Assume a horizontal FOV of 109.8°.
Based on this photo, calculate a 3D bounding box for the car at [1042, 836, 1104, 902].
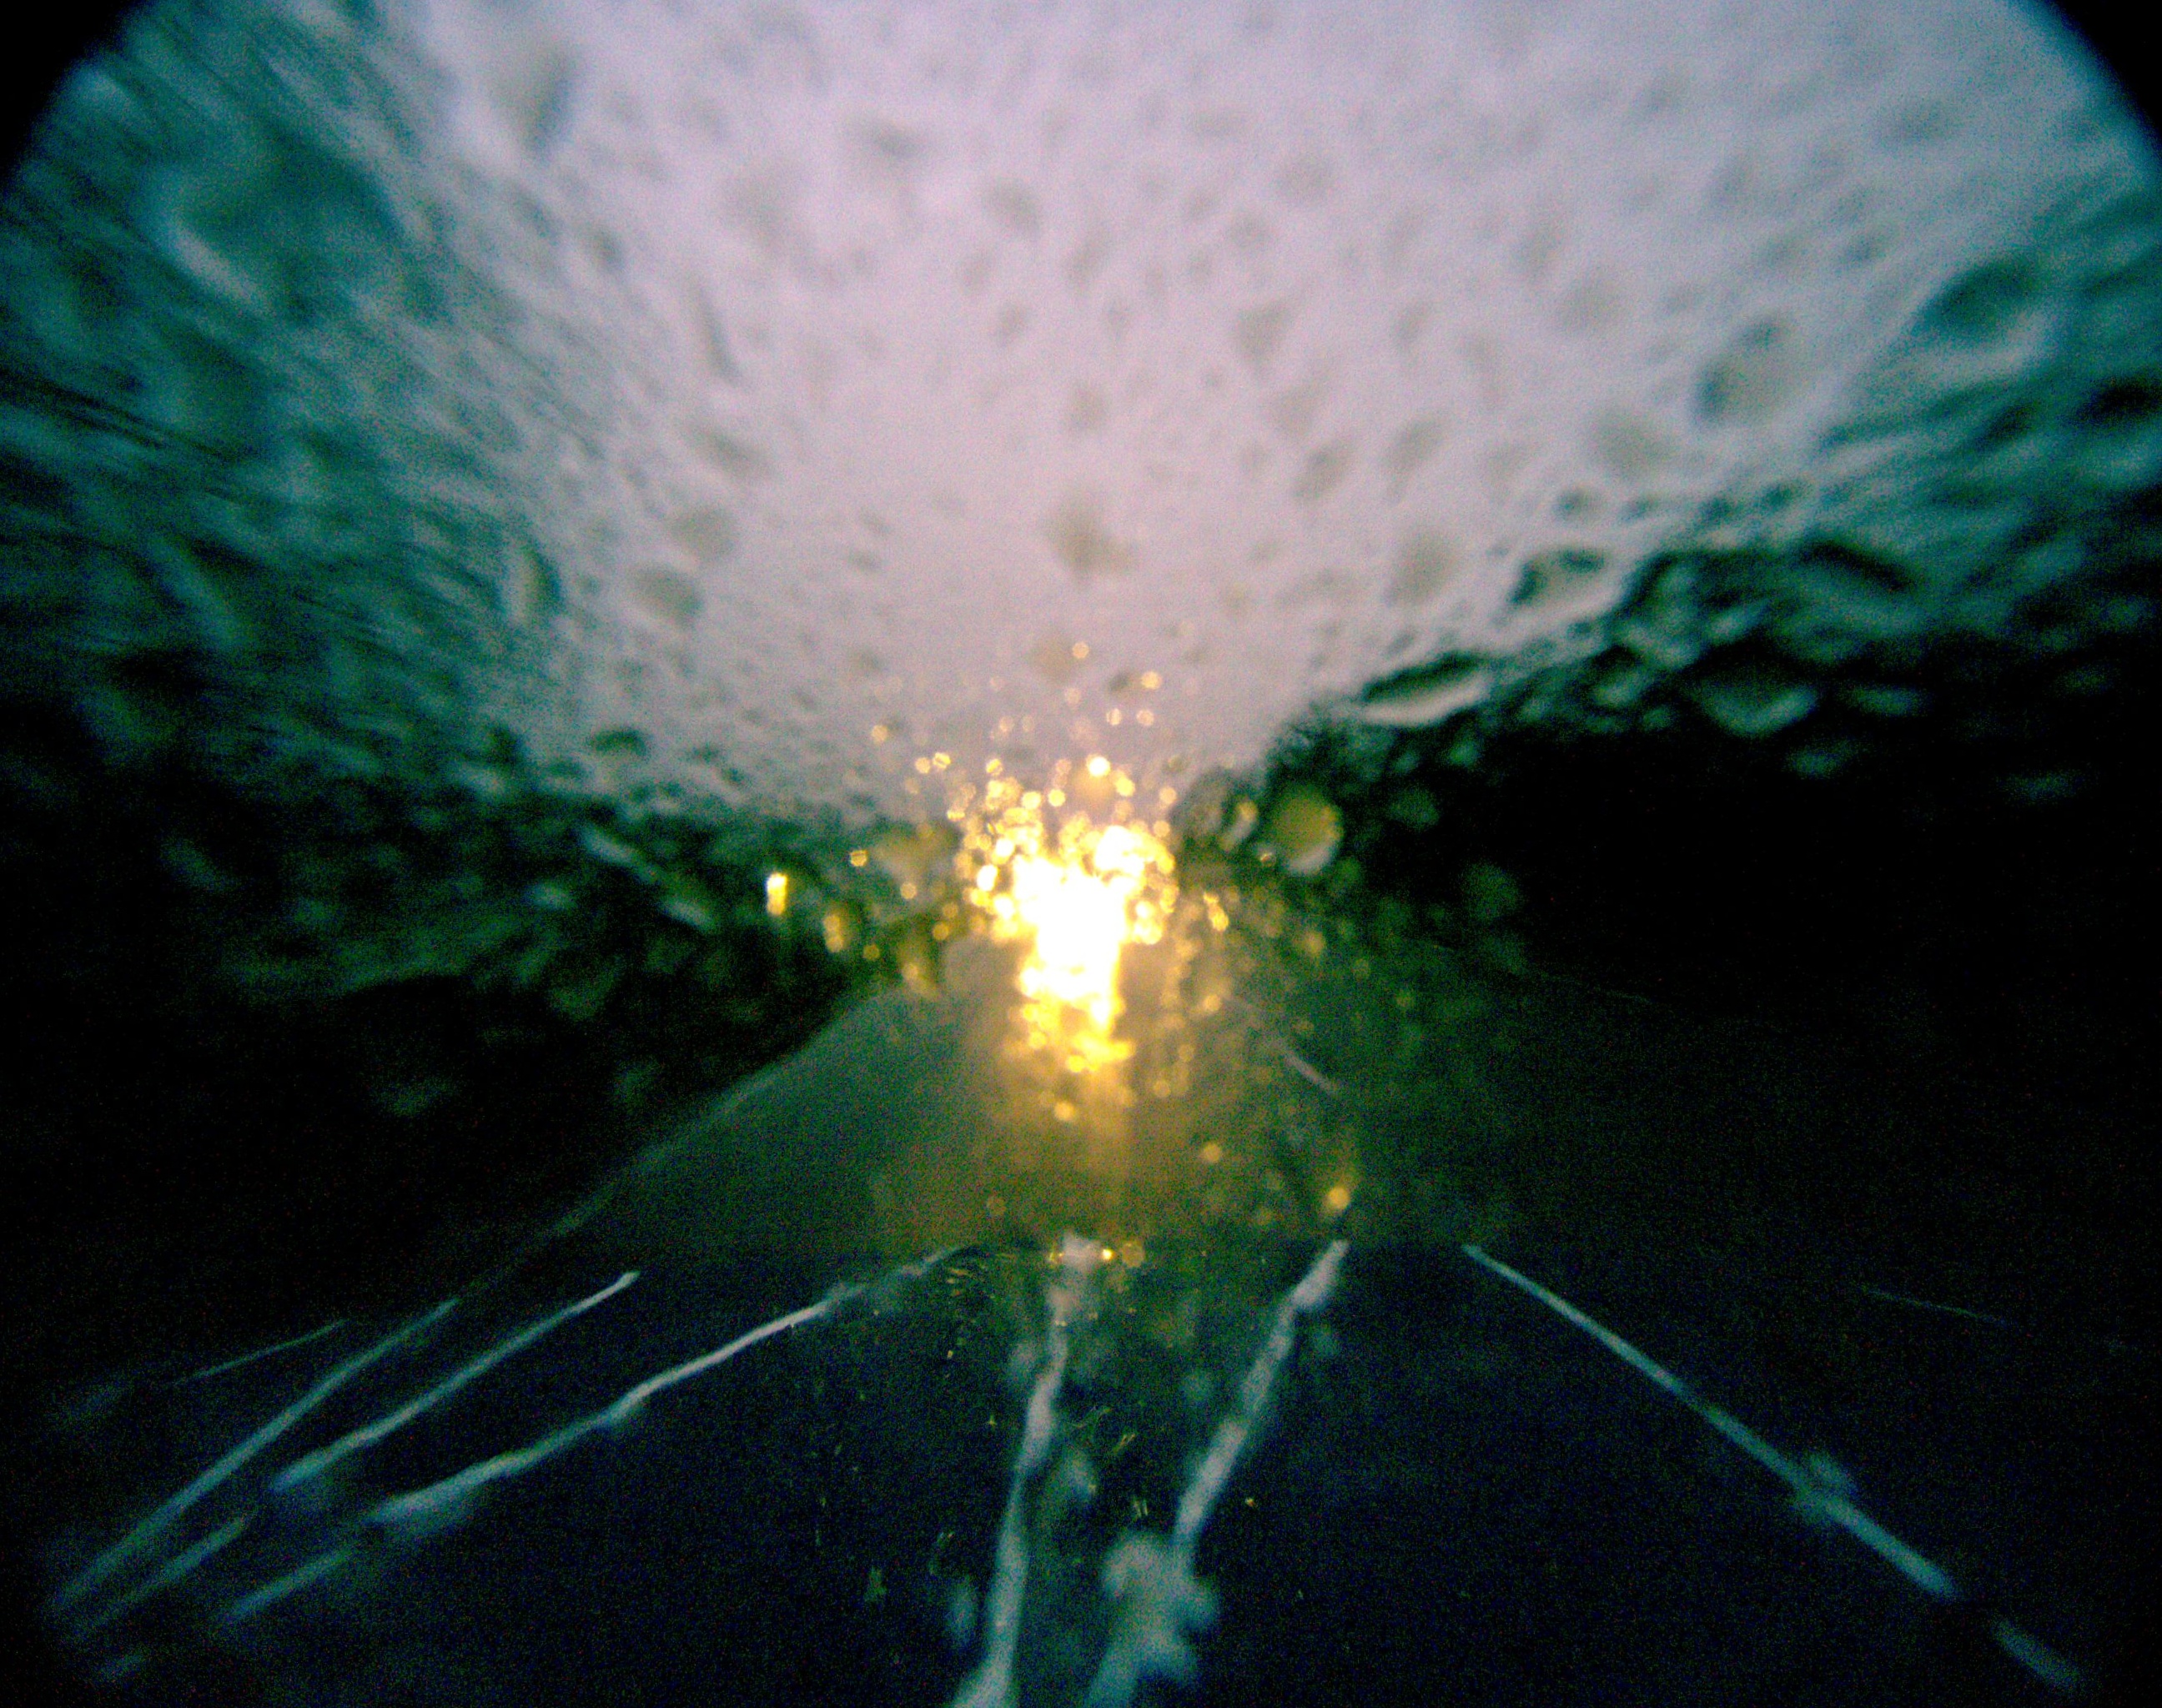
[{"bbox_3d":[-0.191,0.506,28.199,1.952,2.195,4.535,-2,0,3],"label":"car"}]
